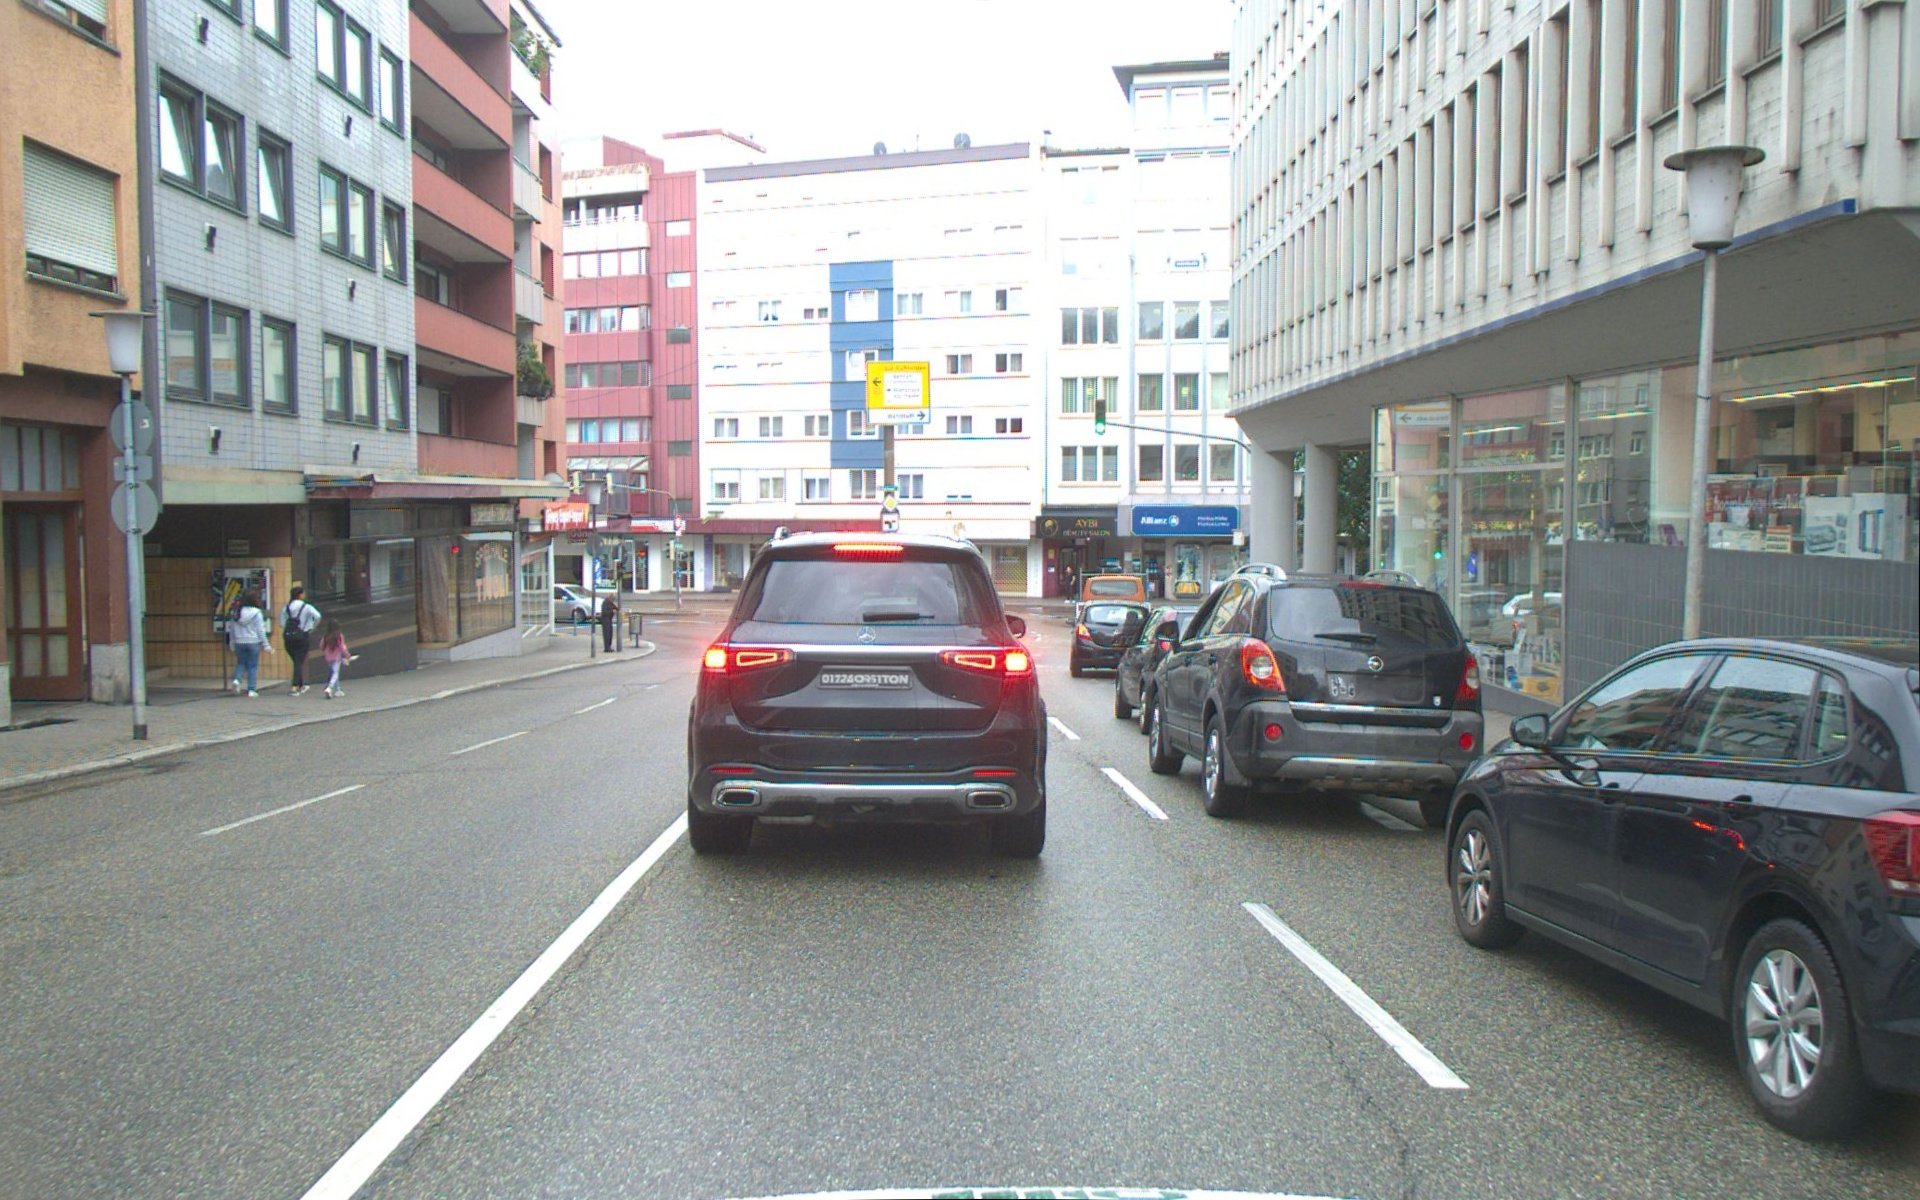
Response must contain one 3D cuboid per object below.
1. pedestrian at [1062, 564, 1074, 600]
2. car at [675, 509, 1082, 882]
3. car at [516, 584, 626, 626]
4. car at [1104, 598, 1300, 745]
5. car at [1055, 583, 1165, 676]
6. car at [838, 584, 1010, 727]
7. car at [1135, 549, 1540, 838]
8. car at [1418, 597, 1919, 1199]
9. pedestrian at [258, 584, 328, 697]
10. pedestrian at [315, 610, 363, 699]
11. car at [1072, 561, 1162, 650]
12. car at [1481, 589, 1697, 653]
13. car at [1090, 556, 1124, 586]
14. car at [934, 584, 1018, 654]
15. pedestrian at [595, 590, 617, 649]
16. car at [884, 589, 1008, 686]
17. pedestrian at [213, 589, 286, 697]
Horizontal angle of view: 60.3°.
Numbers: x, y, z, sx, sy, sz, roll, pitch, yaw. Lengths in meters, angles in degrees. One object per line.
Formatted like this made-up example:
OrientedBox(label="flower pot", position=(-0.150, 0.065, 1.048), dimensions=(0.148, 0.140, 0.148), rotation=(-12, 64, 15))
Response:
OrientedBox(label="pedestrian", position=(5.327, -0.890, 81.266), dimensions=(0.552, 1.717, 0.757), rotation=(0, 6, 5))
OrientedBox(label="car", position=(-0.500, 0.465, 10.601), dimensions=(1.998, 1.830, 4.660), rotation=(1, 0, -3))
OrientedBox(label="car", position=(-16.152, 0.202, 68.667), dimensions=(4.073, 1.620, 1.742), rotation=(2, 1, 14))
OrientedBox(label="car", position=(2.790, 0.768, 19.873), dimensions=(1.731, 1.421, 4.000), rotation=(5, 0, 1))
OrientedBox(label="car", position=(2.909, 0.565, 32.893), dimensions=(1.785, 1.687, 4.495), rotation=(2, 0, 1))
OrientedBox(label="car", position=(-0.480, 0.586, 20.140), dimensions=(1.836, 1.521, 4.398), rotation=(1, 0, -3))
OrientedBox(label="car", position=(2.623, 0.576, 12.665), dimensions=(1.859, 1.724, 4.504), rotation=(3, 0, -2))
OrientedBox(label="car", position=(3.187, 0.796, 6.133), dimensions=(1.655, 1.502, 3.998), rotation=(3, 0, -3))
OrientedBox(label="pedestrian", position=(-10.411, 0.624, 25.839), dimensions=(0.812, 1.719, 0.722), rotation=(2, 0, -10))
OrientedBox(label="pedestrian", position=(-9.638, 0.837, 25.687), dimensions=(0.523, 1.346, 0.722), rotation=(2, 0, -10))
OrientedBox(label="car", position=(4.268, 0.143, 45.858), dimensions=(2.196, 2.267, 5.430), rotation=(1, 0, 3))
OrientedBox(label="car", position=(15.710, 0.480, 41.456), dimensions=(4.763, 1.520, 1.847), rotation=(0, 0, 41))
OrientedBox(label="car", position=(8.365, -1.628, 93.871), dimensions=(1.759, 1.699, 4.003), rotation=(0, 0, 8))
OrientedBox(label="car", position=(0.336, 0.492, 40.487), dimensions=(1.886, 1.542, 4.661), rotation=(2, -1, -1))
OrientedBox(label="pedestrian", position=(-10.329, 0.569, 48.303), dimensions=(0.543, 1.727, 0.623), rotation=(0, 0, -5))
OrientedBox(label="car", position=(-0.246, 0.583, 28.367), dimensions=(1.953, 1.512, 4.236), rotation=(-1, 0, -1))
OrientedBox(label="pedestrian", position=(-10.726, 0.641, 24.995), dimensions=(0.812, 1.588, 0.722), rotation=(2, 0, -10))
